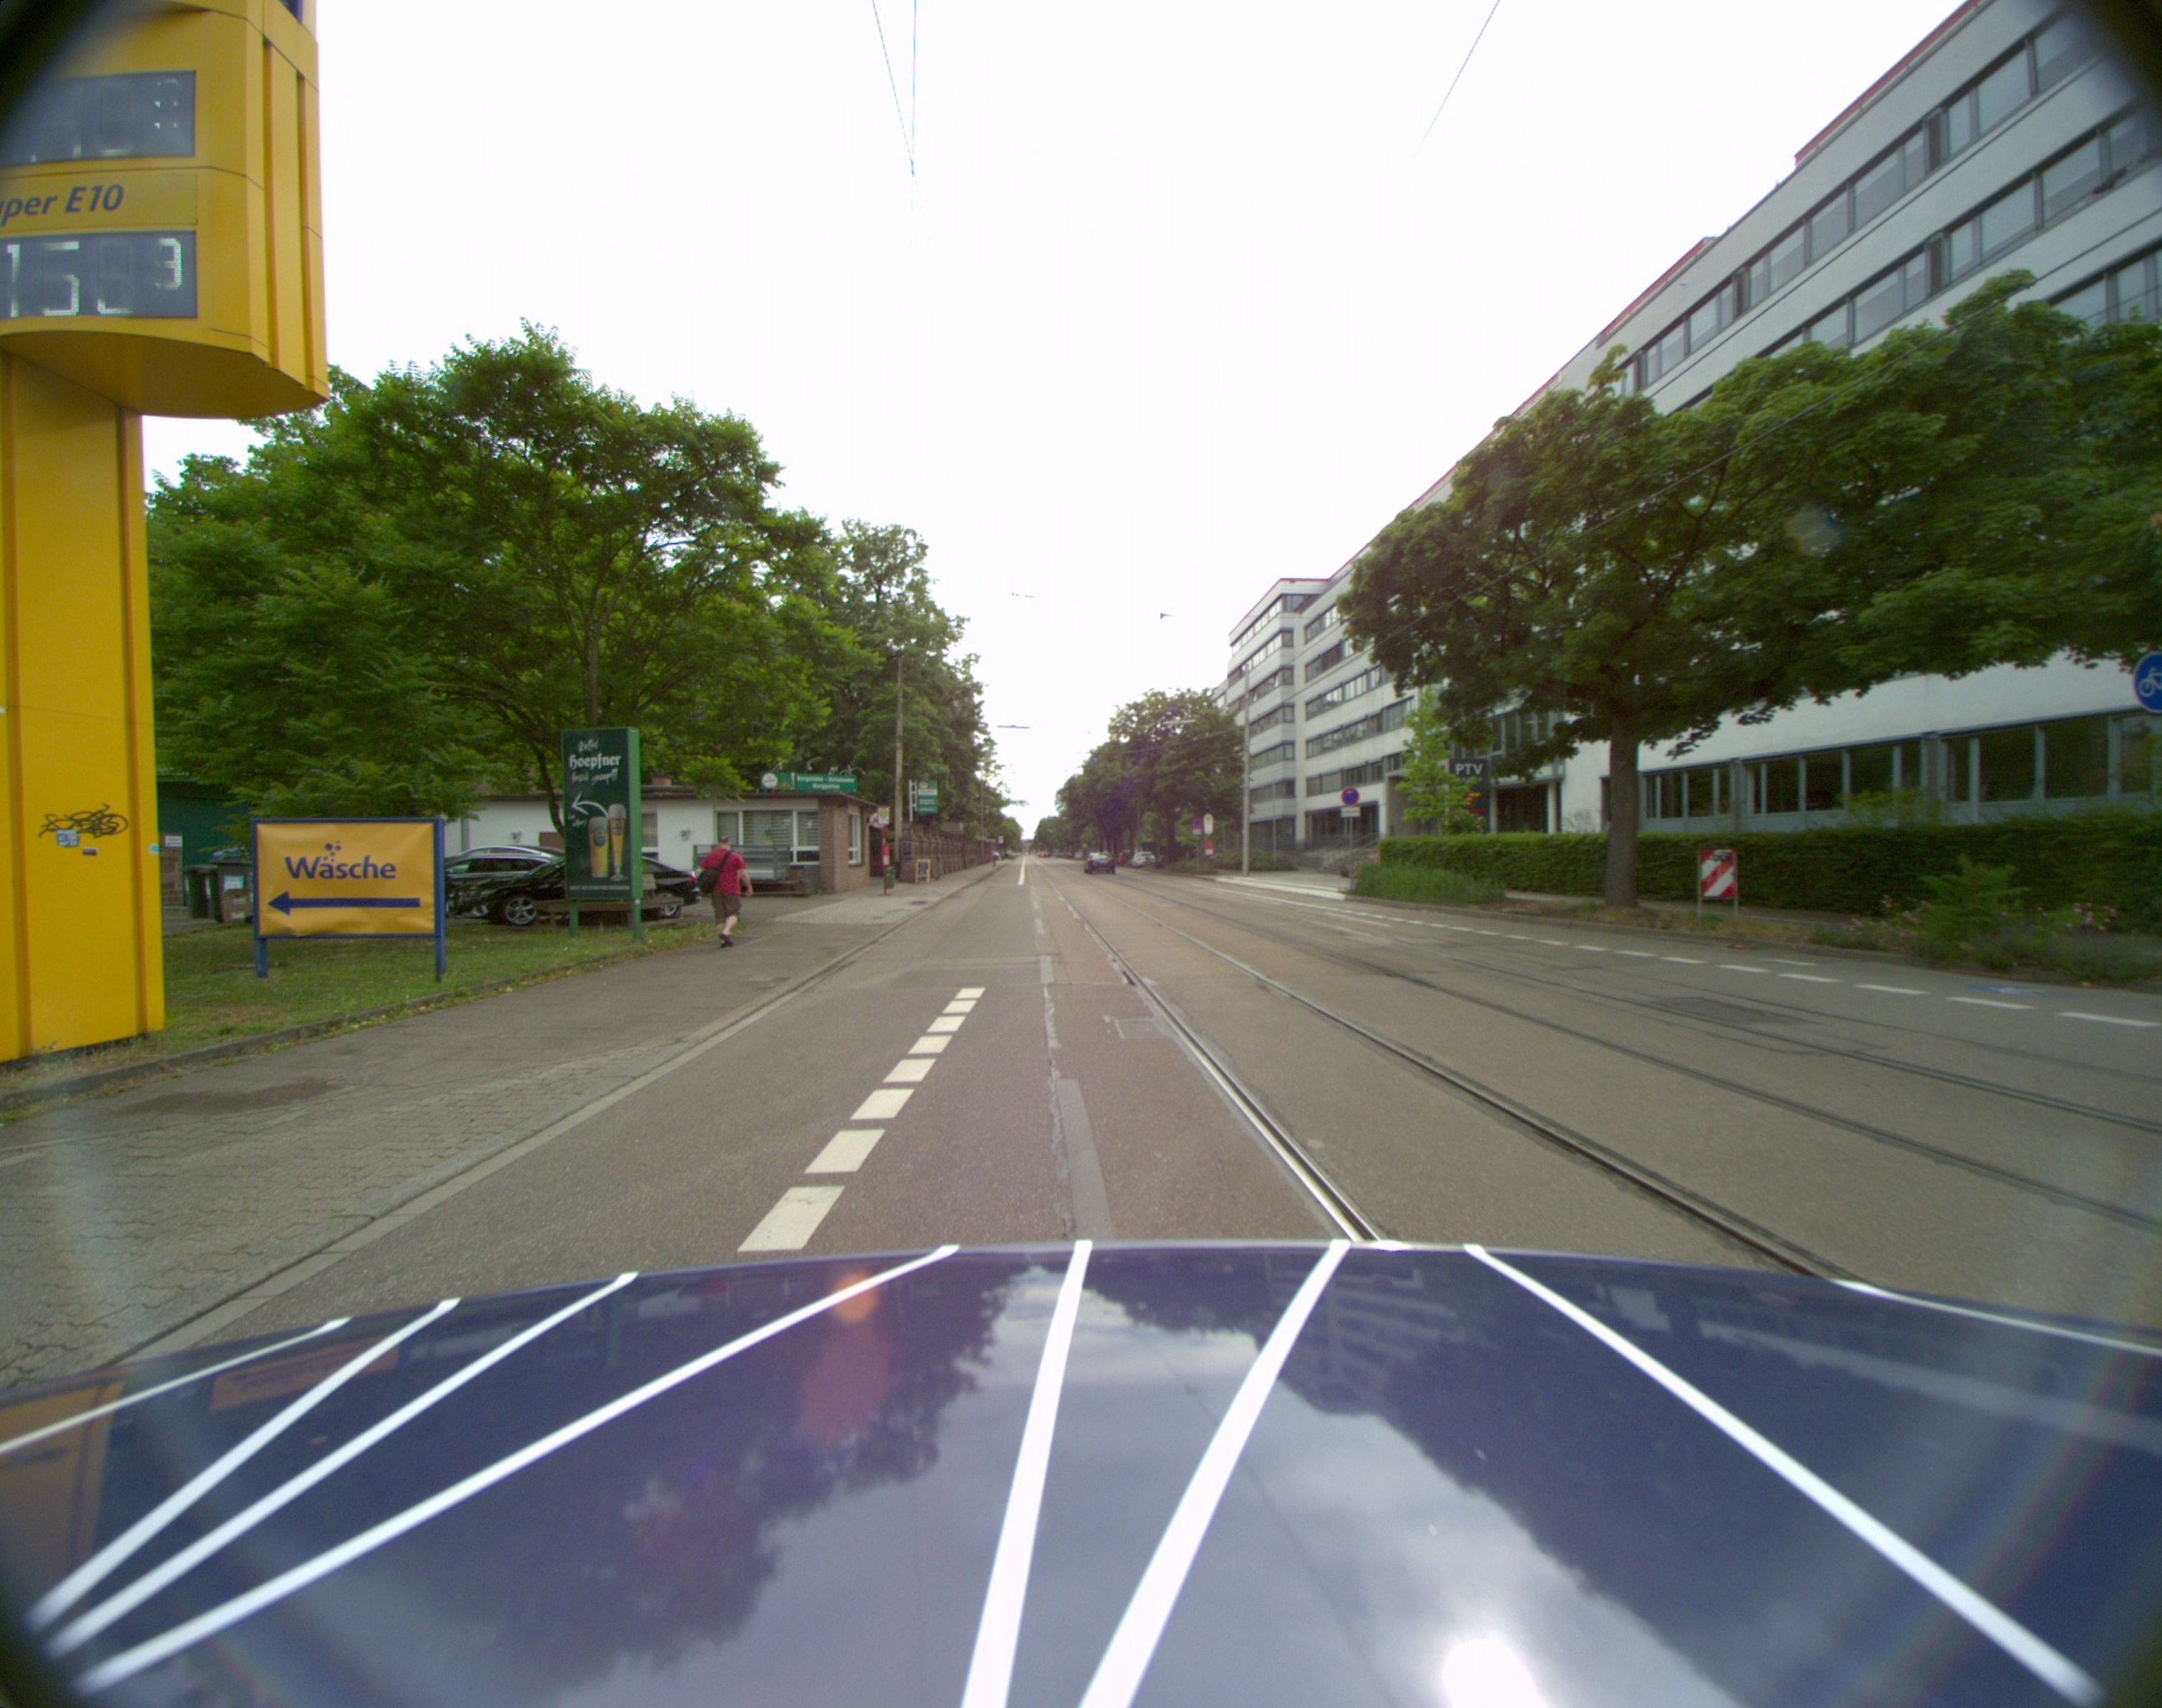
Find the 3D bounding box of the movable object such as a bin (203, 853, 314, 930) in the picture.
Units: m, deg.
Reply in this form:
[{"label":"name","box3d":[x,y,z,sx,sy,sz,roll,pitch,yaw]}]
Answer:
[{"label":"movable object such as a bin","box3d":[-15.453,0.677,14.287,1.118,1.351,1.162,-1,1,31]}]

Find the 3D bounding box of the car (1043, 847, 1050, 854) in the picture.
[{"label":"car","box3d":[-10.648,-1.129,234.551,1.999,2.002,3.998,-2,1,-2]}]

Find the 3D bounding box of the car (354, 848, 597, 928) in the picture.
[{"label":"car","box3d":[-13.829,0.693,17.568,1.821,1.509,4.007,-1,1,37]}]

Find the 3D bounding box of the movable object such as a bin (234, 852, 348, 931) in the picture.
[{"label":"movable object such as a bin","box3d":[-14.305,0.655,13.780,1.118,1.312,1.162,-1,1,31]}]

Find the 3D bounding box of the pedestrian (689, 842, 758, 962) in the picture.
[{"label":"pedestrian","box3d":[-5.494,0.708,11.664,0.871,1.738,0.848,1,2,-29]}]

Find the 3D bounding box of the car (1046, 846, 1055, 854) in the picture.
[{"label":"car","box3d":[-8.149,-1.163,203.928,1.998,2.002,3.999,-2,1,1]}]

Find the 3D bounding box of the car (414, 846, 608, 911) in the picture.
[{"label":"car","box3d":[-16.390,0.653,22.030,3.998,1.657,1.999,-2,1,-3]}]

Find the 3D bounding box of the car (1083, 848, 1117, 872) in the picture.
[{"label":"car","box3d":[1.290,0.389,53.744,1.802,1.537,4.477,-2,1,-6]}]

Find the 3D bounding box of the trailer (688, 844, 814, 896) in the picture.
[{"label":"trailer","box3d":[-10.524,0.480,24.428,3.291,1.523,1.772,0,3,-3]}]

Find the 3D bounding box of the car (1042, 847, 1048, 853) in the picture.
[{"label":"car","box3d":[-11.618,-1.385,246.886,1.999,2.002,3.998,-2,1,-2]}]

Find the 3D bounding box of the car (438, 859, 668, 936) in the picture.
[{"label":"car","box3d":[-10.909,0.820,16.130,1.998,1.281,3.999,-2,1,1]}]
